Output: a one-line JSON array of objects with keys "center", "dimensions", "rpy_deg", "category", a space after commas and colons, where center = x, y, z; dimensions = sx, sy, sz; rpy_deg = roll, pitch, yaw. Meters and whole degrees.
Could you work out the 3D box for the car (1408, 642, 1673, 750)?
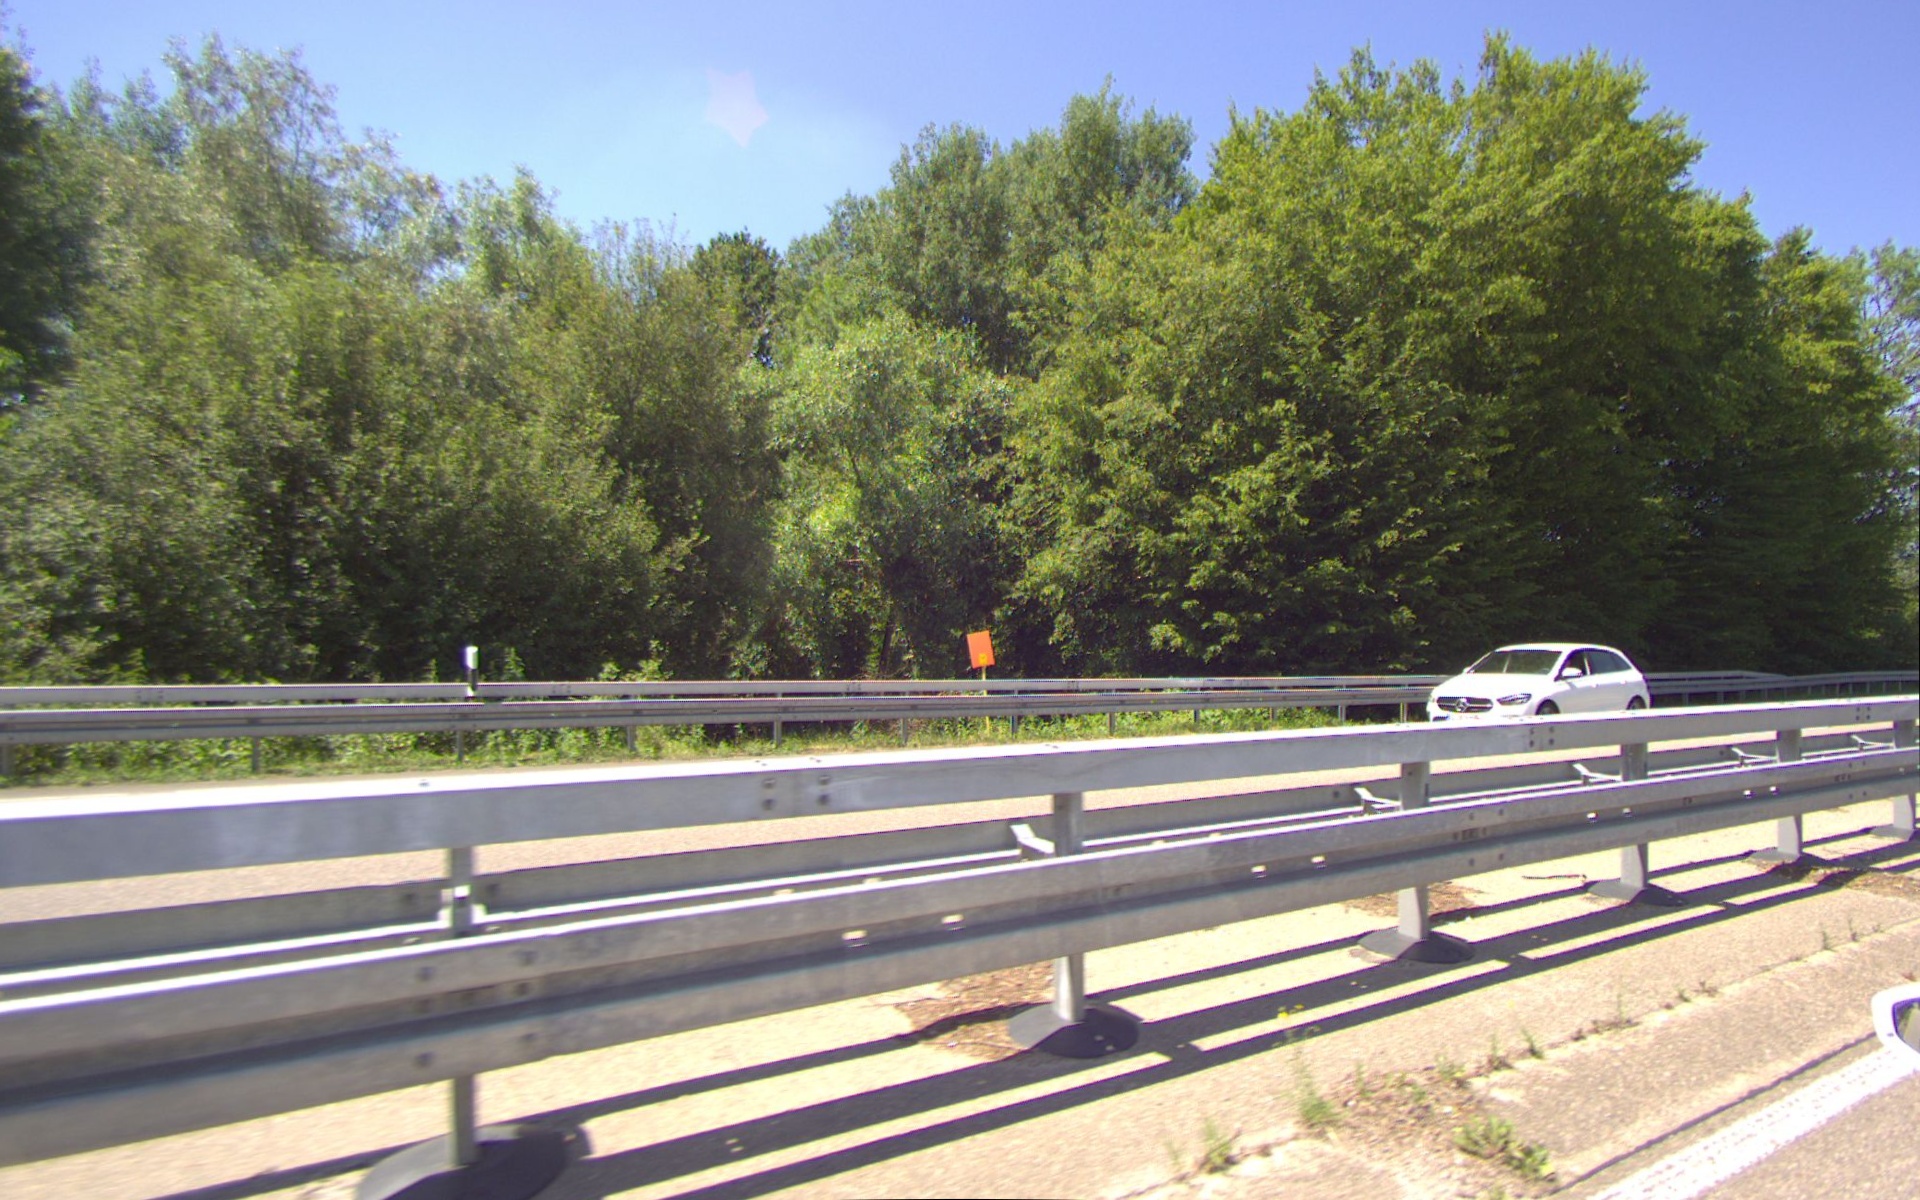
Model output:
[{"center": [9.984, 1.563, 17.174], "dimensions": [4.785, 1.619, 1.810], "rpy_deg": [2, -4, -31], "category": "car"}]
